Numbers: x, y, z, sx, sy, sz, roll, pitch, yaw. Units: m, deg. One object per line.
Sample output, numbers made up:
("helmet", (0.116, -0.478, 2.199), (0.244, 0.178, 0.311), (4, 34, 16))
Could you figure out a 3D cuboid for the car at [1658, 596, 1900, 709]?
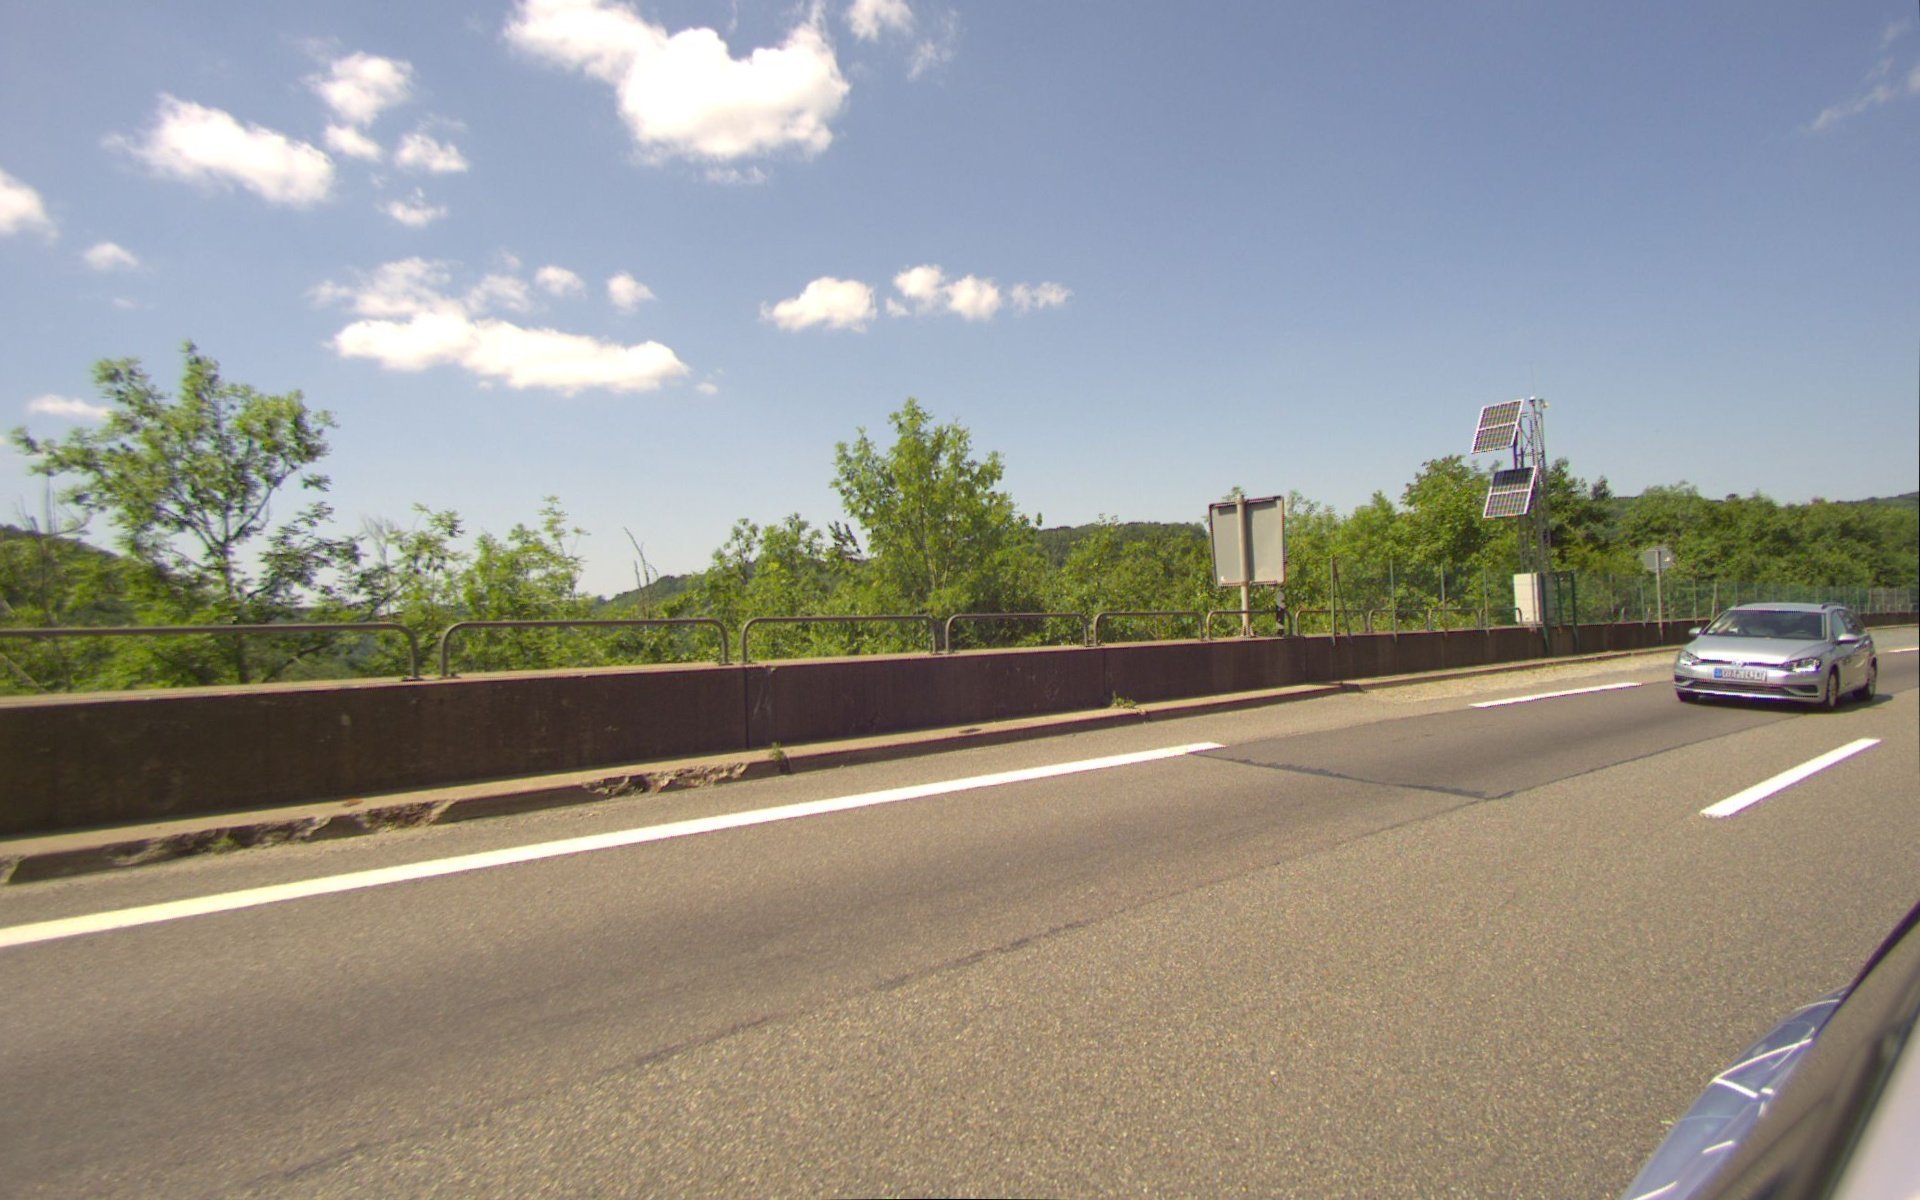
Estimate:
("car", (12.175, 0.662, 14.959), (4.217, 1.395, 1.972), (-1, 1, -39))
